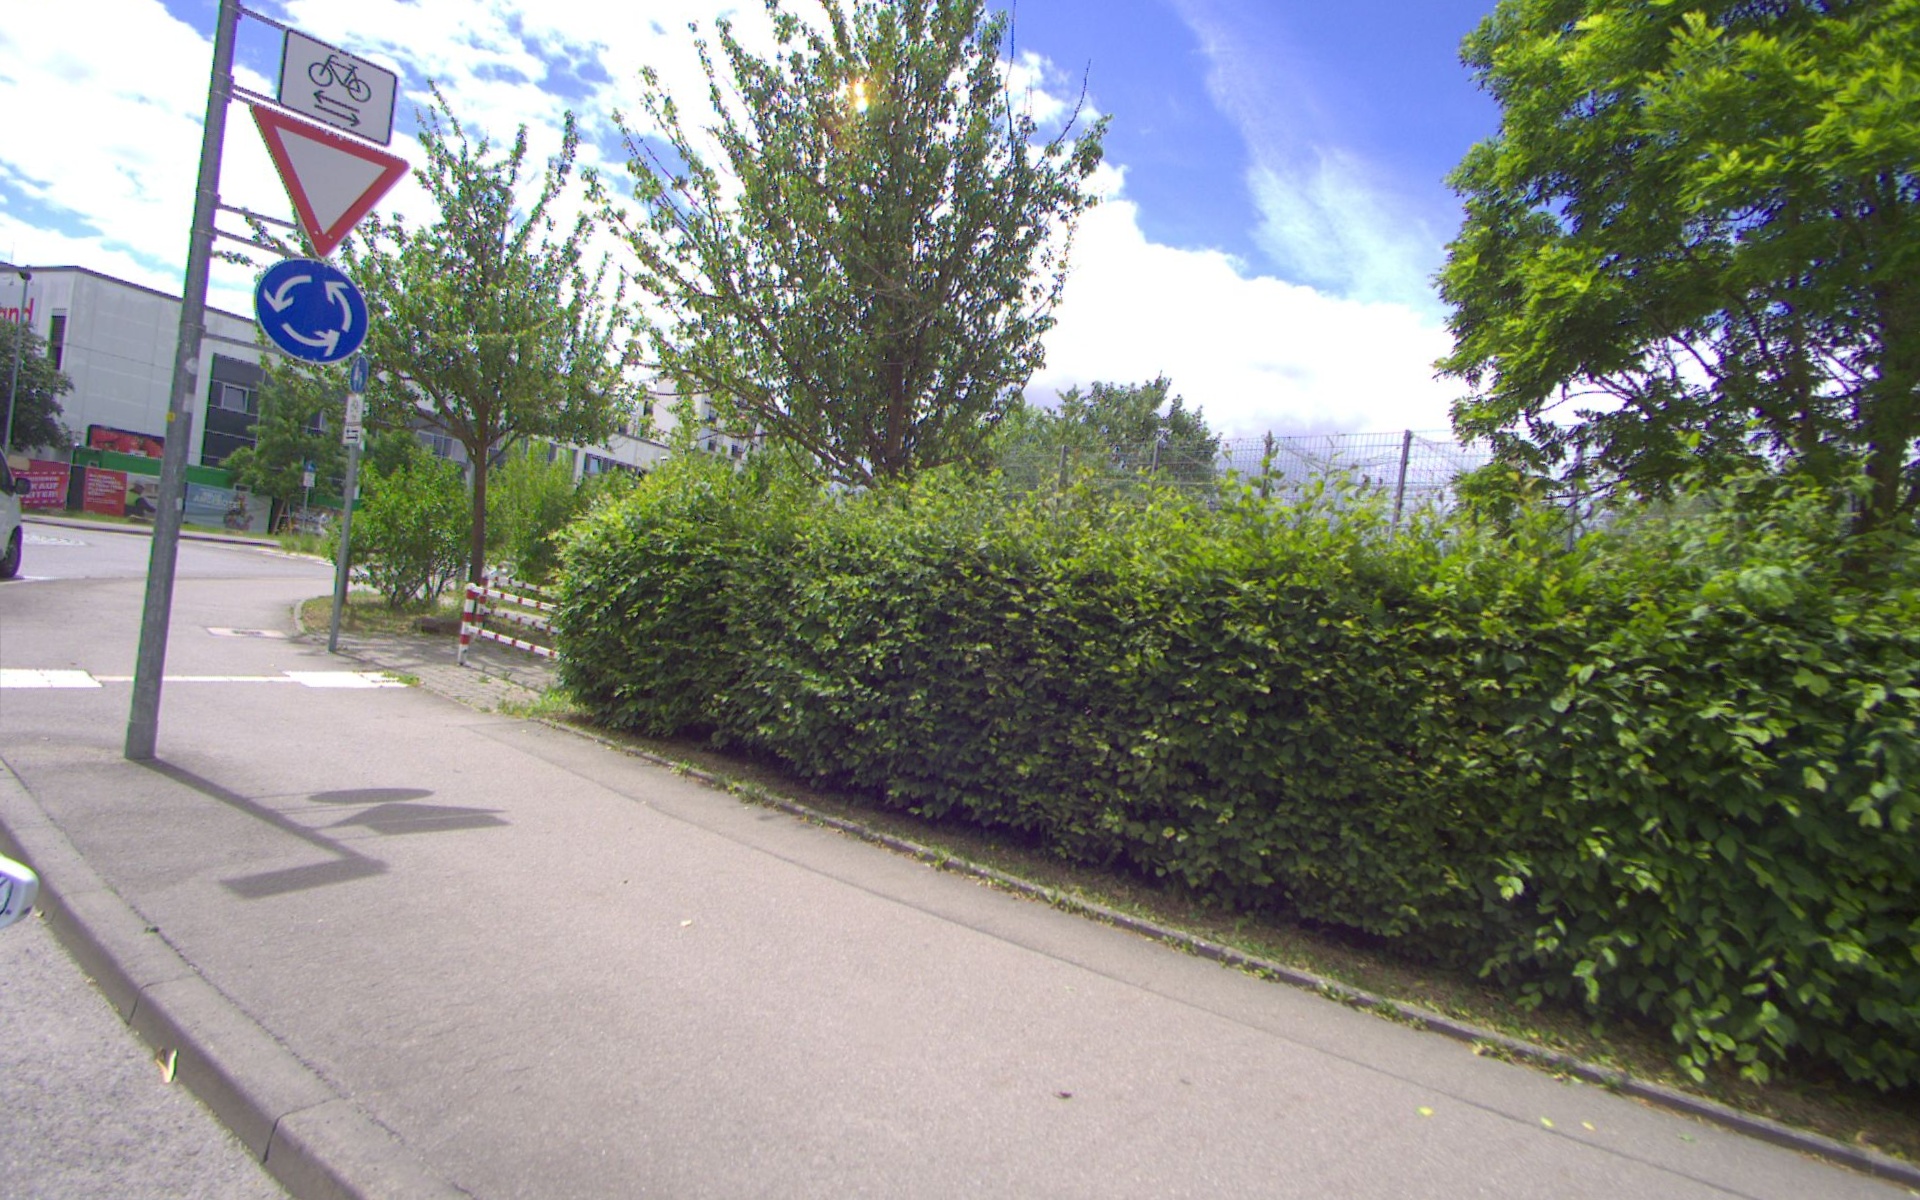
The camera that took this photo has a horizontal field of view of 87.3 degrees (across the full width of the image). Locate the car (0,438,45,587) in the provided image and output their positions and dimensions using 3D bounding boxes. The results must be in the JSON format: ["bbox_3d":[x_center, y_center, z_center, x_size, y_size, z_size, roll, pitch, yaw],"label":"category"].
[{"bbox_3d":[-13.209,-1.235,12.237,2.022,1.967,4.951,9,-2,-32],"label":"car"}]

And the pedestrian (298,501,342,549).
[{"bbox_3d":[-23.483,-2.727,36.932,1.023,1.559,0.891,9,-1,-20],"label":"pedestrian"}]
